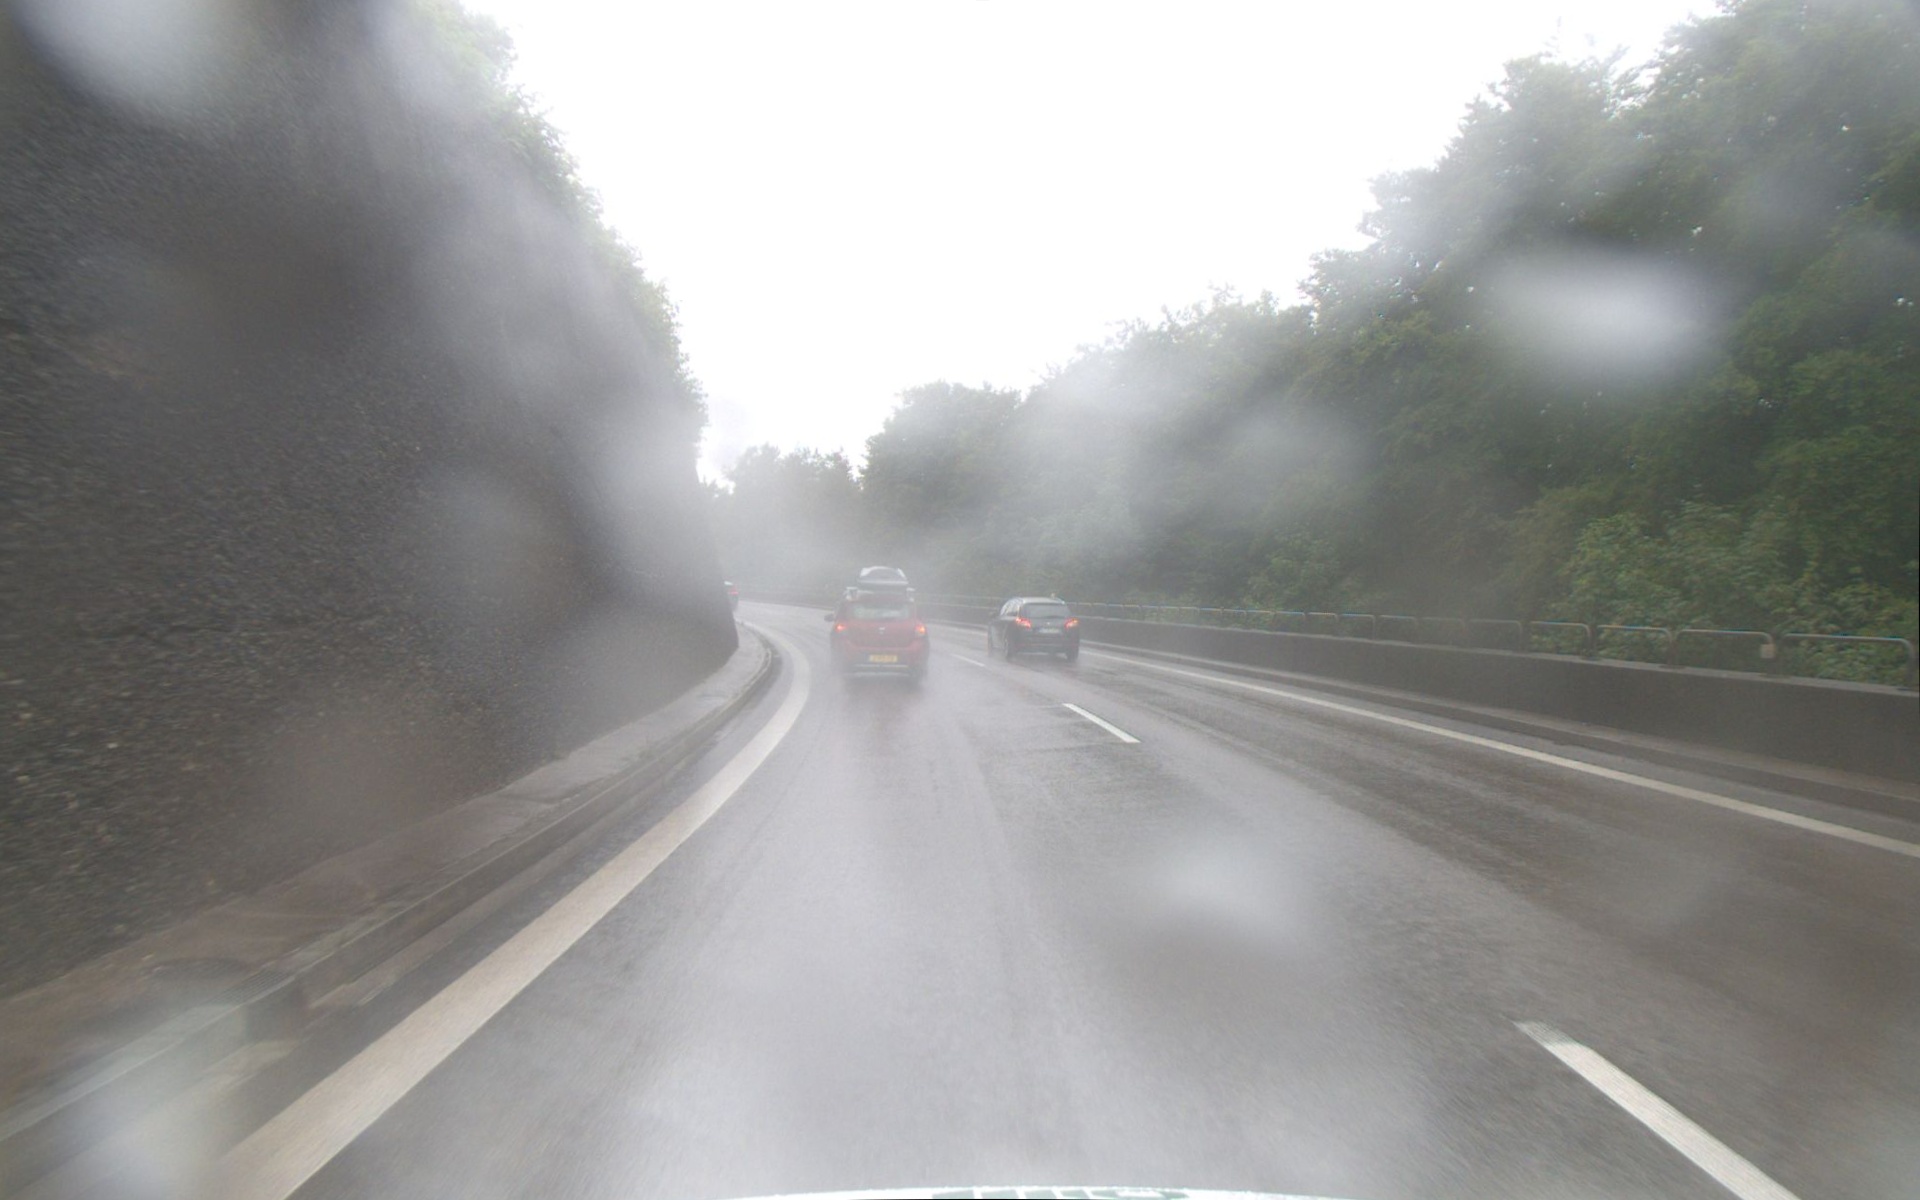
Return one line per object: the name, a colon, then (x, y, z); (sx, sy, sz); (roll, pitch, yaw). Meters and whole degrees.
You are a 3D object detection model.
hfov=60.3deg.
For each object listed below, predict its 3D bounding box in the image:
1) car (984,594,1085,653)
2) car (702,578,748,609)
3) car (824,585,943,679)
car: (1.767, 0.554, 40.549); (1.767, 1.330, 3.993); (1, 0, -8)
car: (-13.741, -0.373, 96.466); (1.963, 1.713, 3.978); (2, -1, -19)
car: (-1.465, 0.558, 30.380); (1.955, 1.579, 3.995); (1, 0, -6)
